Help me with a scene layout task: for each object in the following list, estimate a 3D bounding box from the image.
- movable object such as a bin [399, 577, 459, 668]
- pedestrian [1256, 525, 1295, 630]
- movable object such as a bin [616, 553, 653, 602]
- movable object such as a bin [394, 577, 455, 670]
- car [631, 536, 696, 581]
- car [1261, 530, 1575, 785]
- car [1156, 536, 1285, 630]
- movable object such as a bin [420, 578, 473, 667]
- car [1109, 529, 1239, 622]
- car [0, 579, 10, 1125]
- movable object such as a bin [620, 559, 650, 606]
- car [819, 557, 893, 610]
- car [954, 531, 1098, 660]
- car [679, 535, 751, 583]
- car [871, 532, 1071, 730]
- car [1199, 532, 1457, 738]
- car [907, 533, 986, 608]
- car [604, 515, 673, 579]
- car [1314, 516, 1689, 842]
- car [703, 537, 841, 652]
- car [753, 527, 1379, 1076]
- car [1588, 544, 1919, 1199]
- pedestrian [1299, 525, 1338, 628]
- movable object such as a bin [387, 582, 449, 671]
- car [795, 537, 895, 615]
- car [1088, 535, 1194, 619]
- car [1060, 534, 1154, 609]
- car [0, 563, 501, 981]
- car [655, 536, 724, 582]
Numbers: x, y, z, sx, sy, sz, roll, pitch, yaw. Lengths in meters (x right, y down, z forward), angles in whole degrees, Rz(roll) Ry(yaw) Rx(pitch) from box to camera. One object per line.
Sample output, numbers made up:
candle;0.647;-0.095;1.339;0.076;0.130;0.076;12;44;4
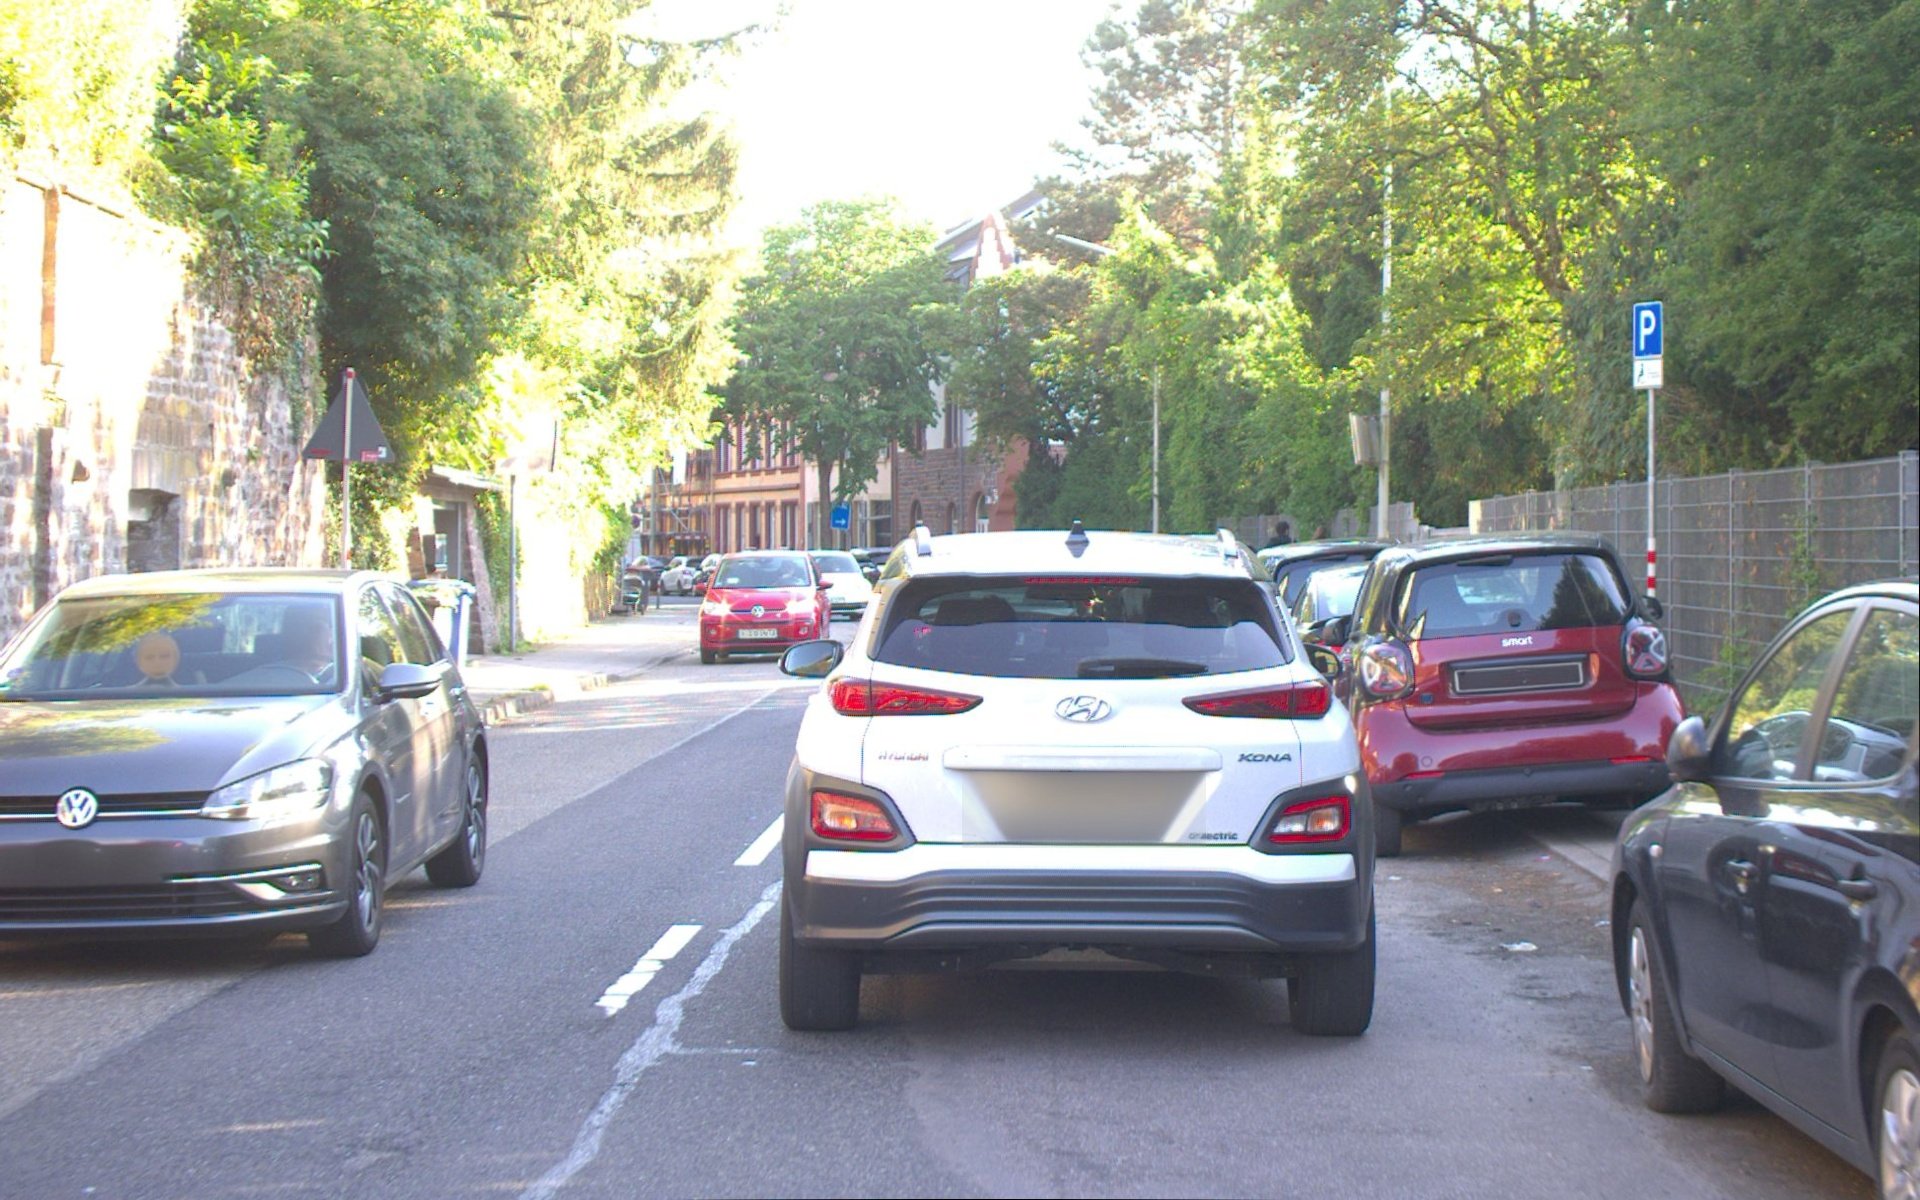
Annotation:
movable object such as a bin;-5.836;0.246;37.780;0.573;0.981;0.438;1;0;-1
pedestrian;4.892;-0.350;53.328;0.503;1.601;0.491;-2;1;2
movable object such as a bin;-8.016;-0.558;84.717;0.792;1.185;0.773;1;0;0
movable object such as a bin;-5.803;0.253;37.290;0.573;0.981;0.438;1;0;-1
car;-11.467;-1.613;132.775;1.755;1.611;4.002;1;2;-16
car;2.994;0.310;23.334;1.711;1.492;4.813;2;1;3
car;4.250;-0.307;56.588;1.686;1.426;4.000;-2;1;-1
movable object such as a bin;-5.739;0.247;38.415;0.490;0.961;0.583;1;1;-1
car;3.822;-0.447;61.999;1.593;1.560;4.001;-2;1;-7
car;-3.296;0.690;7.234;1.626;1.417;3.563;-1;1;-1
movable object such as a bin;-7.062;-0.387;74.641;0.495;1.008;1.112;1;0;1
car;-2.781;-0.454;91.478;1.589;1.381;3.362;0;1;-8
car;0.838;-0.084;41.964;1.571;1.472;3.547;1;1;4
car;-8.780;-1.472;123.043;1.755;1.611;4.002;1;2;-16
car;0.142;0.208;28.600;1.512;1.528;3.547;0;1;3
car;2.942;0.241;27.965;1.624;1.504;2.904;-2;2;-2
car;-0.307;-0.648;74.325;1.589;1.577;3.361;0;1;-2
car;-13.260;-2.168;141.693;1.928;2.574;4.395;-1;1;-17
car;2.738;0.352;17.895;1.653;1.559;2.872;0;1;3
car;-2.522;-0.101;46.741;1.550;1.461;3.568;-2;1;2
car;0.438;0.544;11.822;1.772;1.537;4.000;1;1;4
car;2.663;0.597;7.830;1.794;1.436;4.000;0;1;1
pedestrian;5.553;-0.370;53.302;0.503;1.564;0.503;-2;1;2
movable object such as a bin;-5.803;0.284;36.832;0.583;0.934;0.438;1;0;-1
car;-2.370;-0.508;71.852;1.741;1.469;4.000;-3;1;2
car;3.500;-0.458;67.175;1.593;1.514;3.933;-2;1;-3
car;3.098;-0.634;73.010;1.593;1.484;3.603;-2;1;-3
car;-2.954;0.575;13.801;1.649;1.406;3.931;-1;1;1
car;-10.051;-1.539;127.665;1.755;1.611;4.002;1;2;-16
